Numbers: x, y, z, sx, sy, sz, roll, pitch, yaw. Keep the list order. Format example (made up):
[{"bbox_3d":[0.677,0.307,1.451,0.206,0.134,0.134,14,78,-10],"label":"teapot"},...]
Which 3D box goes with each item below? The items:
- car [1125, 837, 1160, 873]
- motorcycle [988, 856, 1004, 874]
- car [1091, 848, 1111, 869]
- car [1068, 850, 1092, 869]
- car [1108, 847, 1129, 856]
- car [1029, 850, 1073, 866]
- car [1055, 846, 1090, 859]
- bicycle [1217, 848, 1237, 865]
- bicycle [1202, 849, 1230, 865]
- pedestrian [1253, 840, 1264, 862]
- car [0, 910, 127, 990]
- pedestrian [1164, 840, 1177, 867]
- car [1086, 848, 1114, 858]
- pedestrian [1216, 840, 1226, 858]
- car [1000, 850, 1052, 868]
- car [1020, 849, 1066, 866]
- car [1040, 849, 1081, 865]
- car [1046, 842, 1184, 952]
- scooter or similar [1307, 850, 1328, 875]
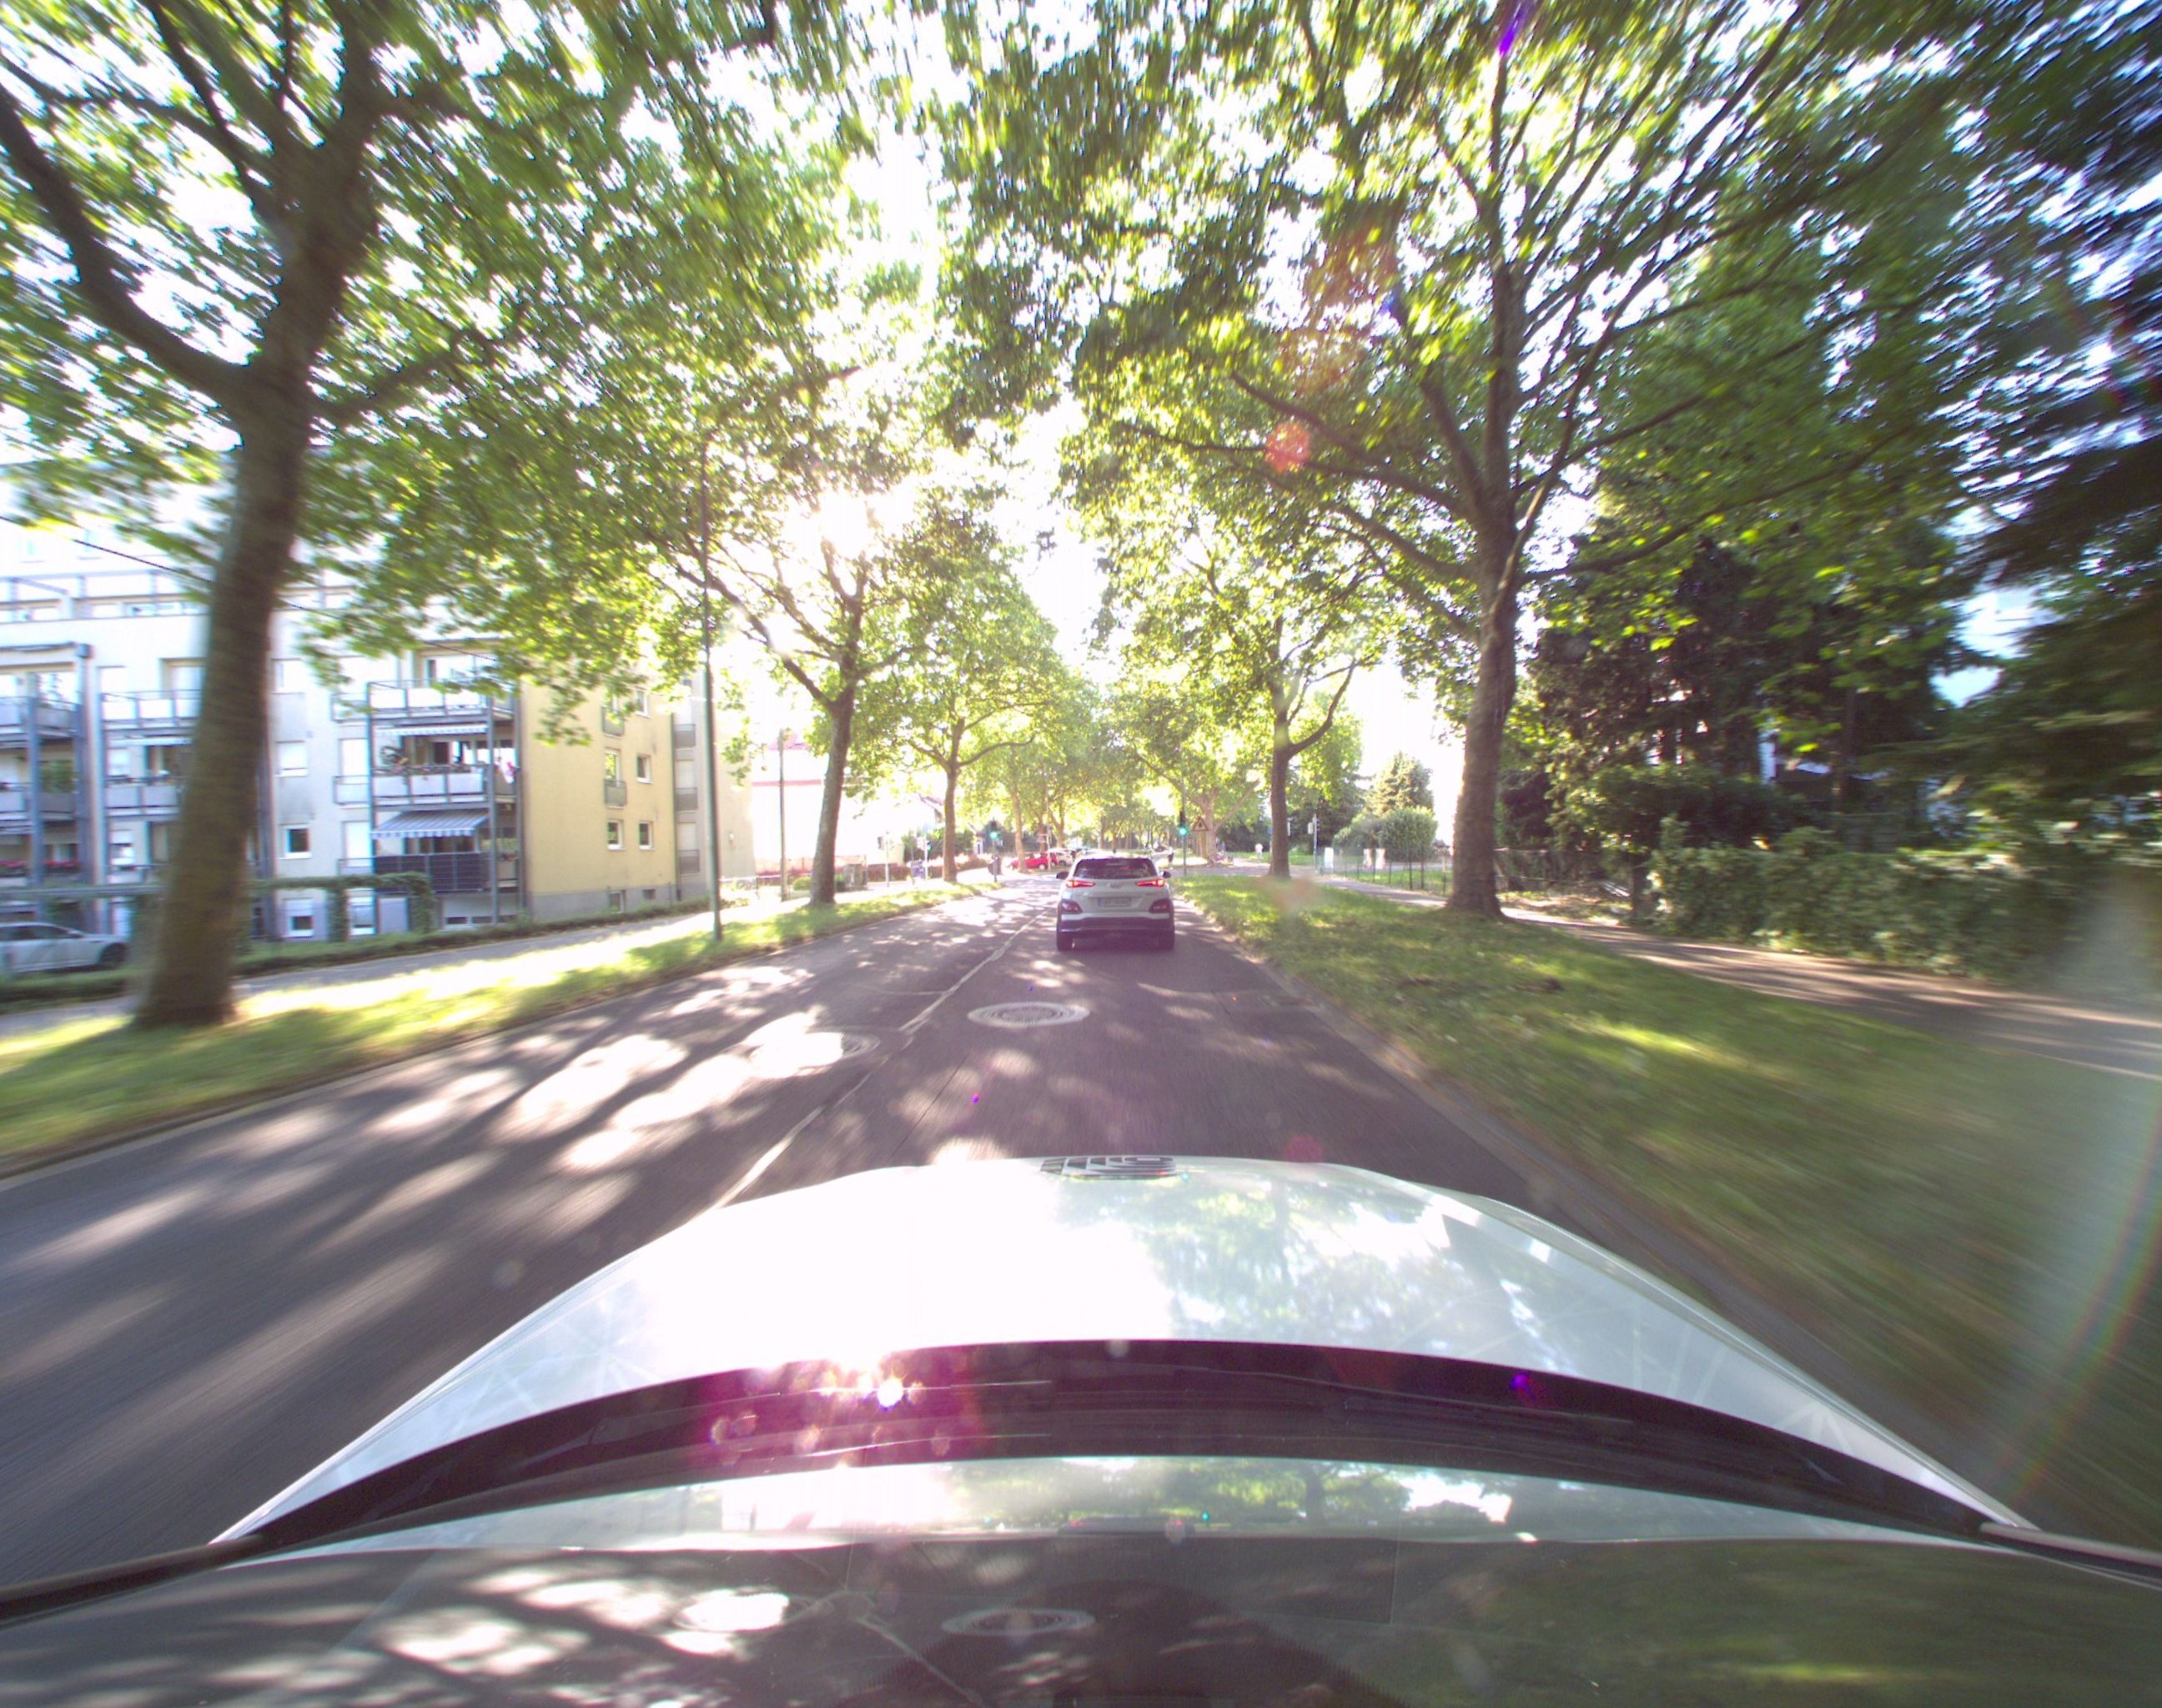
[{"bbox_3d":[3.707,0.054,49.420,1.985,2.013,4.003,-1,0,3],"label":"car"},{"bbox_3d":[-6.555,0.839,62.821,0.842,1.378,2.778,-1,0,3],"label":"motorcycle"},{"bbox_3d":[1.882,0.428,75.015,1.784,1.882,4.002,-1,0,2],"label":"car"},{"bbox_3d":[-0.073,0.429,65.068,1.681,1.437,3.686,-1,1,3],"label":"car"},{"bbox_3d":[7.284,-0.487,158.426,3.665,1.808,1.745,-1,0,-7],"label":"car"},{"bbox_3d":[-2.801,0.408,77.187,3.969,1.478,2.002,-1,0,4],"label":"car"},{"bbox_3d":[-1.027,-0.229,96.739,3.970,1.478,2.002,-1,0,3],"label":"car"},{"bbox_3d":[10.975,0.194,61.188,0.604,1.183,2.107,-1,0,-16],"label":"bicycle"},{"bbox_3d":[9.978,0.257,60.166,0.608,1.164,2.124,0,-1,-40],"label":"bicycle"},{"bbox_3d":[13.993,-0.211,64.317,0.828,1.736,0.888,-1,-1,11],"label":"pedestrian"},{"bbox_3d":[-26.959,2.413,20.148,1.988,1.713,3.998,-1,1,-2],"label":"car"},{"bbox_3d":[6.792,-0.039,61.999,0.862,2.014,0.816,-1,-1,11],"label":"pedestrian"},{"bbox_3d":[2.837,-0.155,120.604,3.970,1.478,2.002,-1,0,3],"label":"car"},{"bbox_3d":[16.591,-0.590,96.720,1.088,2.013,1.108,-1,0,9],"label":"pedestrian"},{"bbox_3d":[-4.514,0.415,67.386,3.970,1.478,2.002,-1,0,3],"label":"car"},{"bbox_3d":[-3.504,0.349,74.969,3.970,1.478,2.002,-1,0,3],"label":"car"},{"bbox_3d":[-2.012,0.323,81.789,3.970,1.478,2.002,-1,0,3],"label":"car"},{"bbox_3d":[0.584,0.634,13.870,1.985,1.574,4.003,-1,0,2],"label":"car"},{"bbox_3d":[12.188,0.413,42.020,0.547,1.258,2.315,-1,0,4],"label":"scooter or similar"}]
